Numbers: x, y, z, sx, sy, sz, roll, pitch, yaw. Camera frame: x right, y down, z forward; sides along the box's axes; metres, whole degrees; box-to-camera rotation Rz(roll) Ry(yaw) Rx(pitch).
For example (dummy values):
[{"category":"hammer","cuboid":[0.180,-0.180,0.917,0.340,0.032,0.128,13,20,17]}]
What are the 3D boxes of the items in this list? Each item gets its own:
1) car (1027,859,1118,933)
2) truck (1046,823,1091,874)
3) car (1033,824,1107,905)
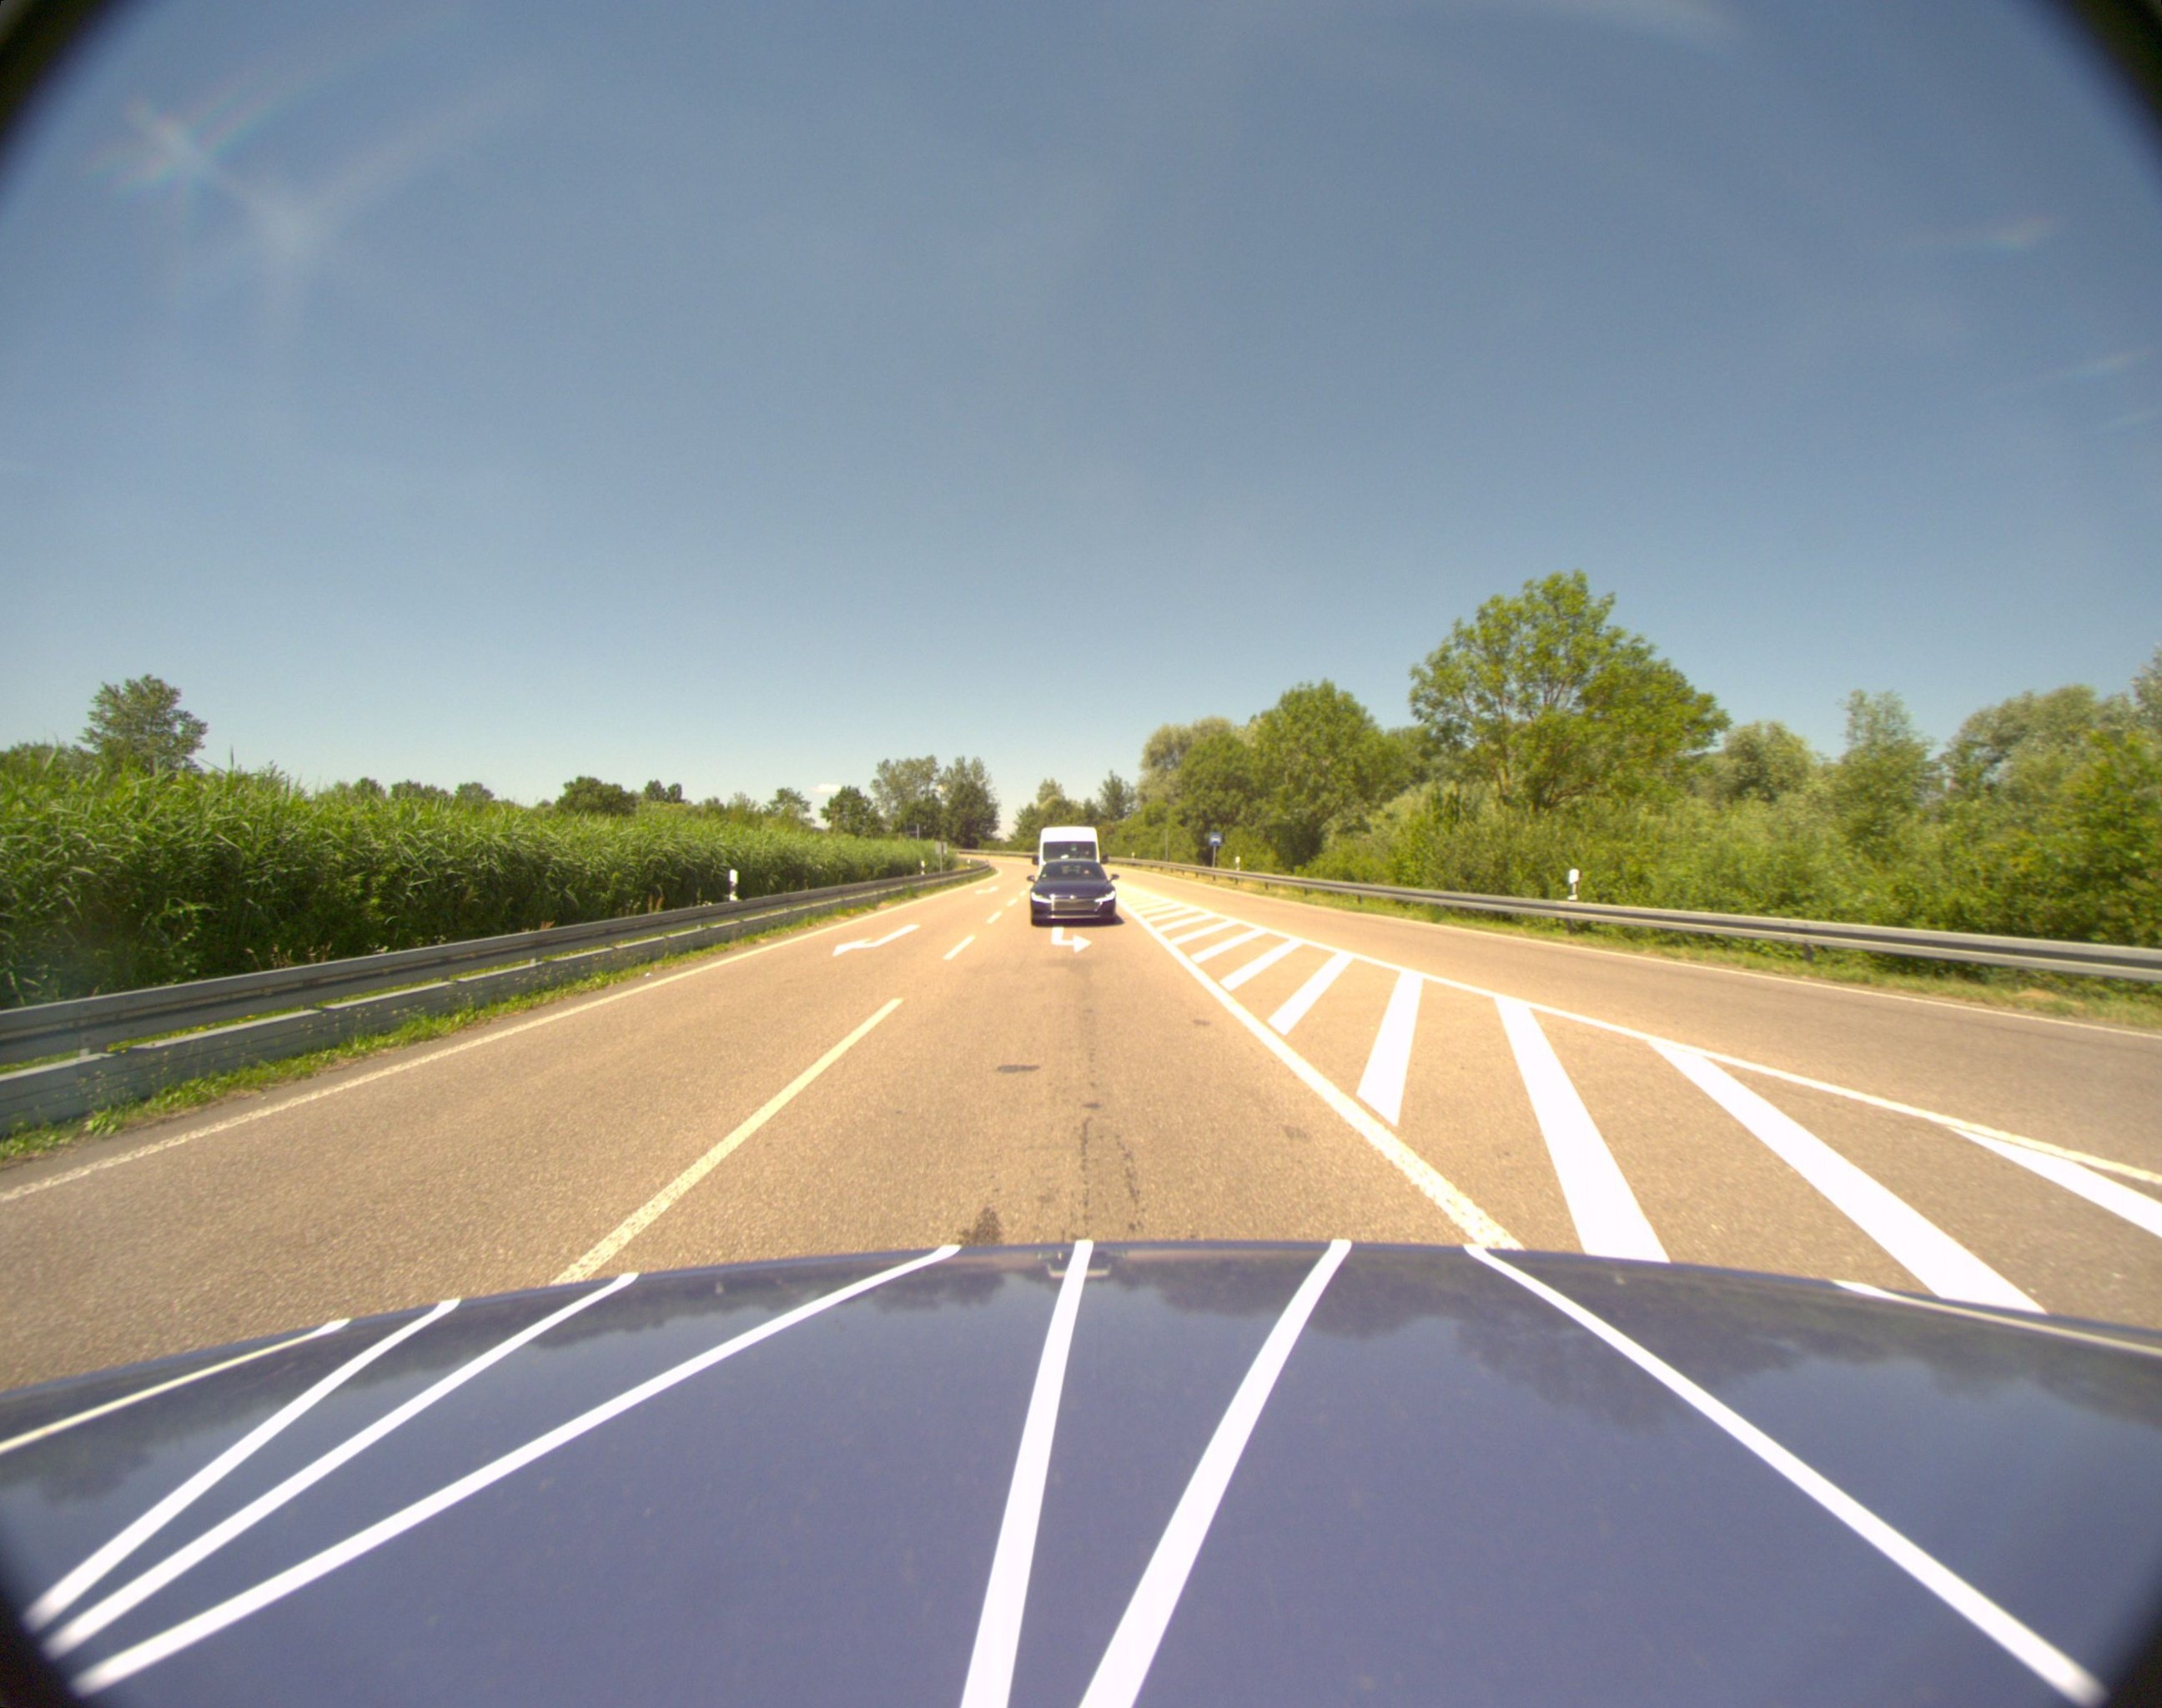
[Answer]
[{"category":"car","cuboid":[-0.161,0.870,17.733,1.847,1.415,4.562,-1,0,0]},{"category":"truck","cuboid":[-0.996,-0.372,52.204,2.694,3.177,9.173,0,0,-3]},{"category":"car","cuboid":[-0.324,0.318,26.554,2.228,2.480,5.982,-1,0,0]}]
